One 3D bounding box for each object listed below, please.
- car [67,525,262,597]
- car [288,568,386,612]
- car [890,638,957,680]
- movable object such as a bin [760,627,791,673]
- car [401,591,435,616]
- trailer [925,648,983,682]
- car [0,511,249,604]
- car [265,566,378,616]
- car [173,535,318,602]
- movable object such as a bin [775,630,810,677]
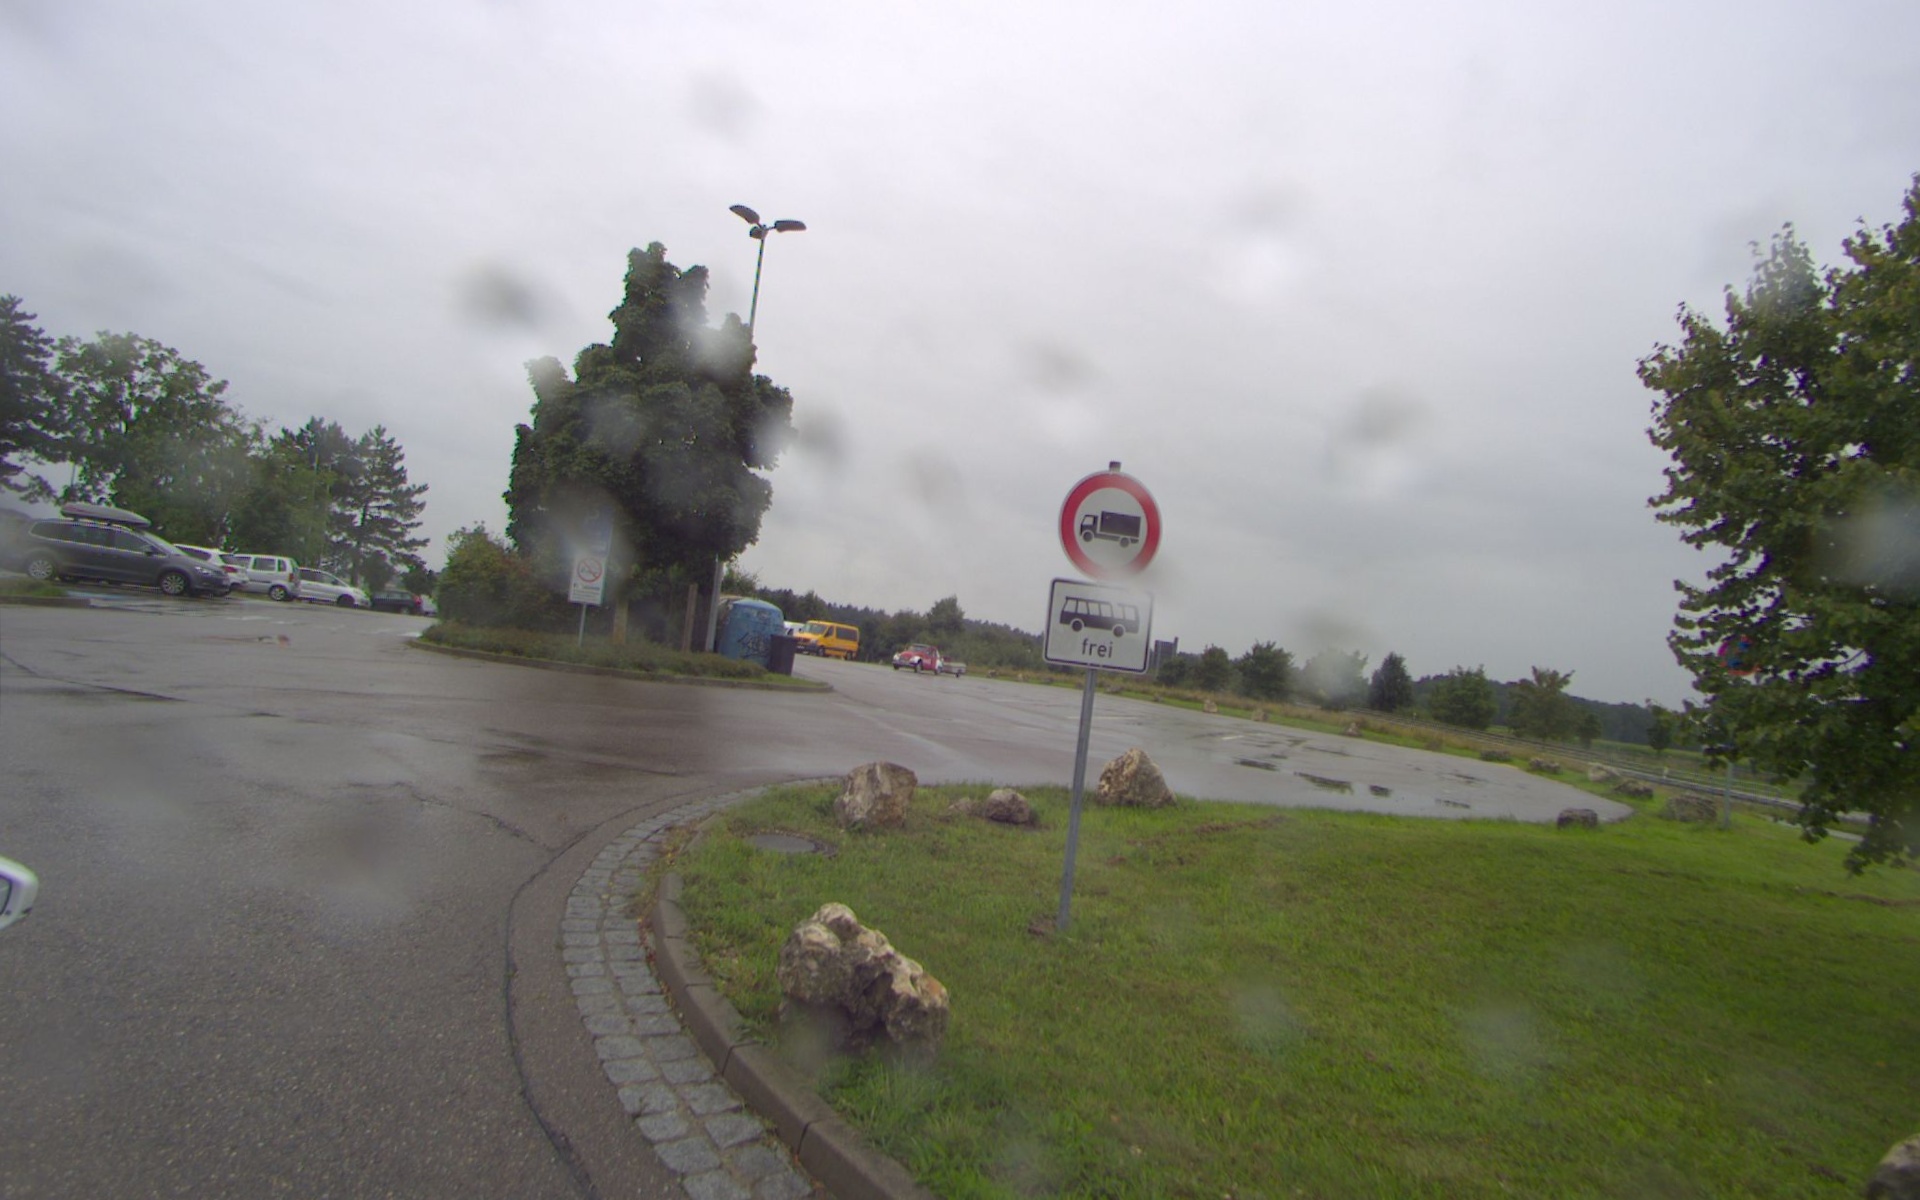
[{"bbox_3d":[-23.876,-1.120,30.368,4.141,1.535,1.735,8,-1,-21],"label":"car"},{"bbox_3d":[-35.454,-0.523,57.365,4.312,1.882,1.842,8,-3,-23],"label":"car"},{"bbox_3d":[-1.916,3.184,53.526,1.795,1.796,4.003,5,-4,25],"label":"car"},{"bbox_3d":[-4.182,1.140,22.791,0.398,0.959,0.451,8,-1,22],"label":"movable object such as a bin"},{"bbox_3d":[-36.958,0.286,68.655,1.629,1.384,3.798,8,-5,-23],"label":"car"},{"bbox_3d":[-0.311,3.727,57.192,1.670,1.549,4.002,5,-4,24],"label":"trailer"},{"bbox_3d":[-22.977,-1.114,27.836,4.886,1.813,1.990,8,-2,-23],"label":"car"},{"bbox_3d":[-31.682,-0.424,50.066,4.311,1.882,1.843,8,-4,-23],"label":"car"},{"bbox_3d":[-26.844,-1.125,37.964,3.970,1.882,1.843,8,-4,-23],"label":"car"},{"bbox_3d":[-3.727,1.196,22.394,0.471,0.959,0.430,9,-2,-44],"label":"movable object such as a bin"}]
